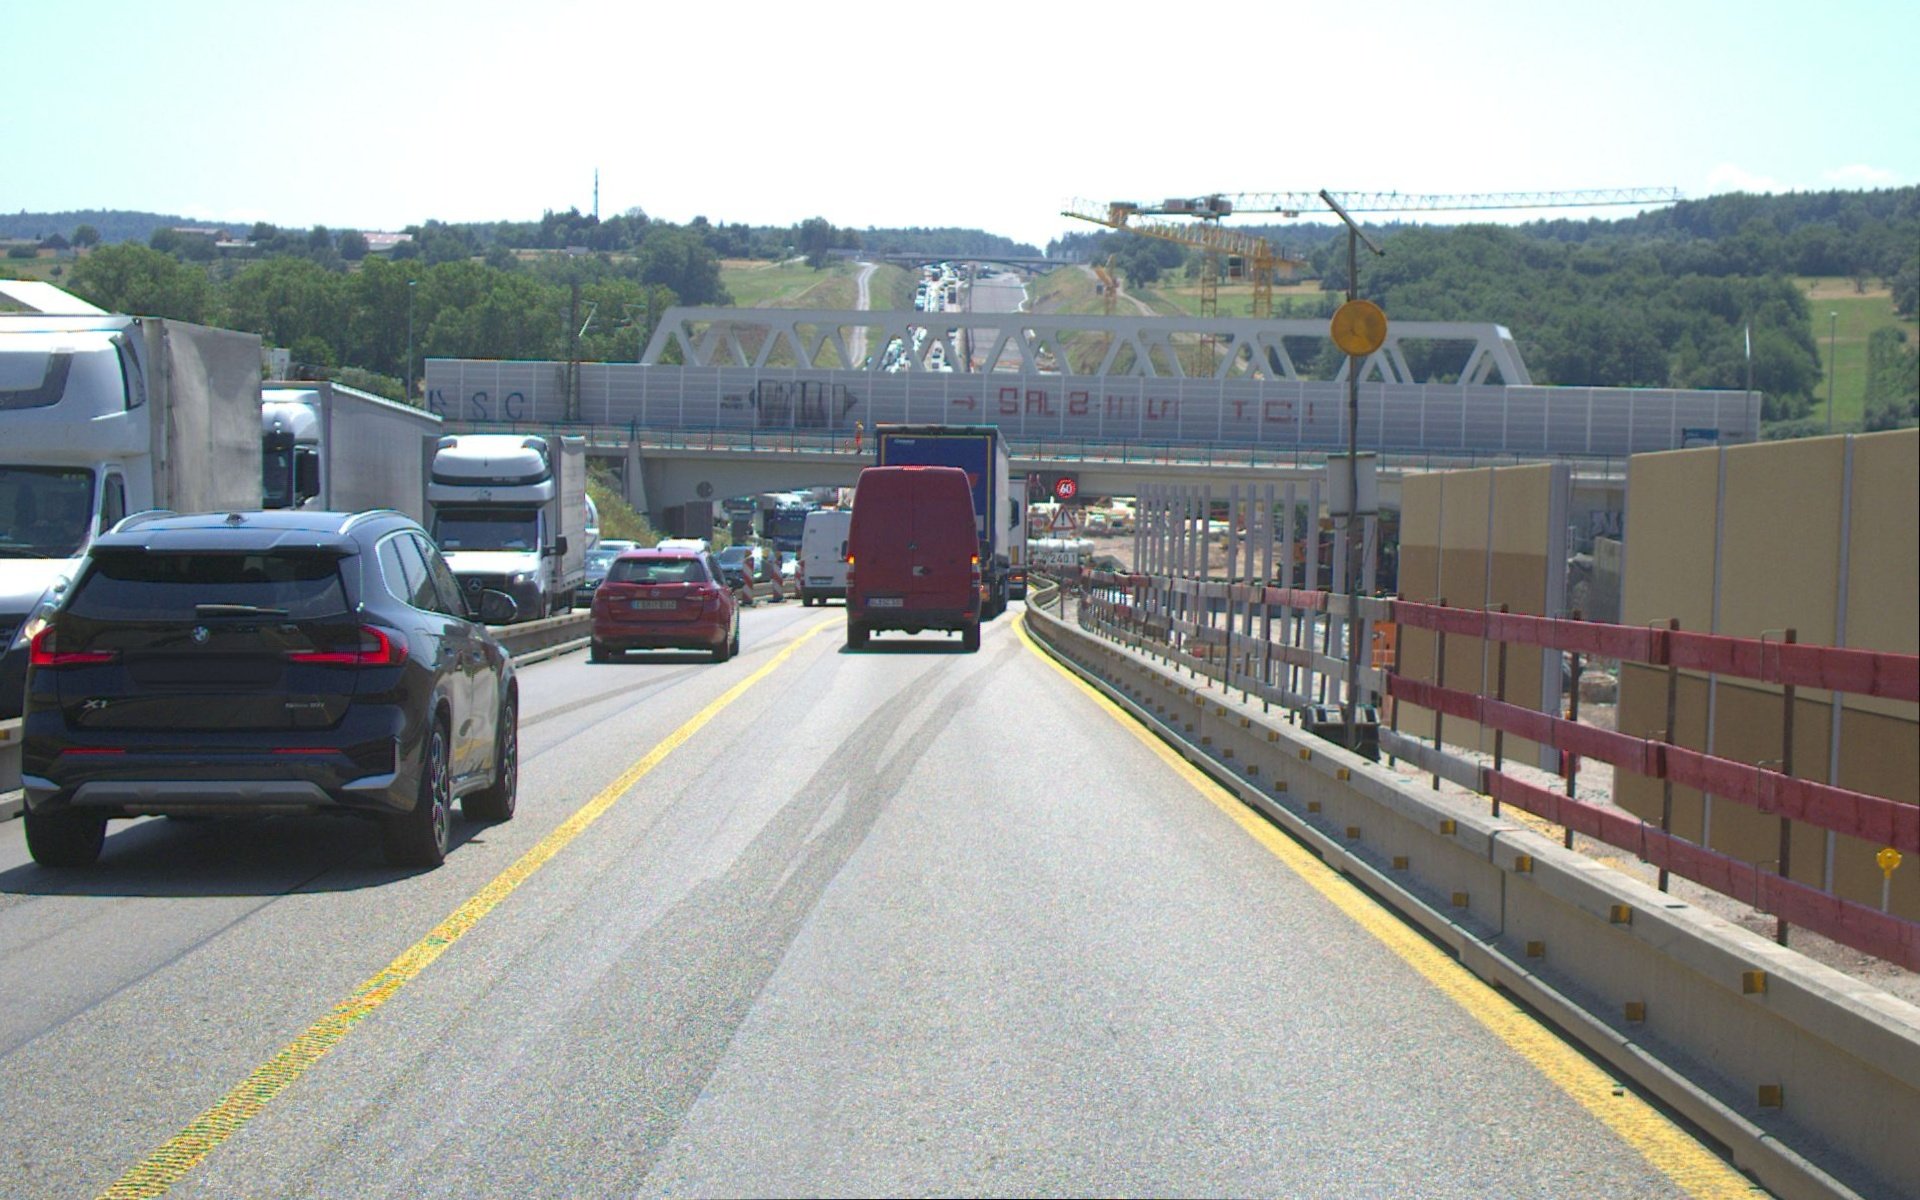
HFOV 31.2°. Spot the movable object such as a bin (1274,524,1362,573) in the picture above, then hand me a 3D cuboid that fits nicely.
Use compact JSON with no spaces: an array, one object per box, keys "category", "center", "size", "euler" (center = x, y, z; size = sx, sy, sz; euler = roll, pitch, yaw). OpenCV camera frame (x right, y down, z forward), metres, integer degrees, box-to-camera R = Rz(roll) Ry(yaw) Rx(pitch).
[{"category":"movable object such as a bin","center":[21.430,-3.073,206.069],"size":[5.147,2.798,2.142],"euler":[1,1,5]}]

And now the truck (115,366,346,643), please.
[{"category":"truck","center":[-11.084,-1.445,52.542],"size":[2.698,4.036,3.955],"euler":[1,1,-1]}]

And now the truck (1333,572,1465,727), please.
[{"category":"truck","center":[11.567,1.245,91.086],"size":[2.758,3.873,5.882],"euler":[1,1,1]}]

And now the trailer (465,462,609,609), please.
[{"category":"trailer","center":[-11.610,-1.797,95.354],"size":[2.590,3.788,11.918],"euler":[1,1,-1]}]

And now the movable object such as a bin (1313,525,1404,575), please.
[{"category":"movable object such as a bin","center":[23.031,-2.893,198.925],"size":[5.147,2.798,2.142],"euler":[1,1,5]}]

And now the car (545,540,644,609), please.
[{"category":"car","center":[-8.136,-0.584,76.829],"size":[1.779,1.453,4.721],"euler":[1,1,-1]}]

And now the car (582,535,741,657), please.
[{"category":"car","center":[-3.883,-0.090,45.281],"size":[1.776,1.512,4.206],"euler":[0,1,-1]}]

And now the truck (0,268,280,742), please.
[{"category":"truck","center":[-7.462,-0.760,27.971],"size":[2.538,3.362,7.038],"euler":[1,1,-1]}]

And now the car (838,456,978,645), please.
[{"category":"car","center":[-0.777,-0.756,51.293],"size":[1.988,2.681,4.624],"euler":[0,1,-1]}]

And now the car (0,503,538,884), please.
[{"category":"car","center":[-3.248,0.349,16.797],"size":[1.879,1.612,4.499],"euler":[0,1,-1]}]

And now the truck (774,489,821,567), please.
[{"category":"truck","center":[-8.515,-3.789,180.652],"size":[2.357,4.001,4.001],"euler":[1,1,-2]}]

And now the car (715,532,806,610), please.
[{"category":"car","center":[-4.340,-0.663,75.325],"size":[1.839,1.648,4.165],"euler":[0,1,-1]}]

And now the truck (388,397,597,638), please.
[{"category":"truck","center":[-7.762,-1.375,57.880],"size":[2.589,3.745,7.359],"euler":[1,1,-1]}]

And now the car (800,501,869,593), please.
[{"category":"car","center":[-3.355,-1.443,92.580],"size":[1.776,2.433,4.206],"euler":[0,1,-1]}]

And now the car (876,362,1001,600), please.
[{"category":"car","center":[-0.521,-2.623,77.873],"size":[2.621,5.015,10.397],"euler":[0,1,-1]}]

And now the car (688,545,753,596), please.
[{"category":"car","center":[-7.876,-0.990,113.455],"size":[1.791,1.606,4.733],"euler":[1,1,0]}]

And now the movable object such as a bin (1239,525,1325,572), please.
[{"category":"movable object such as a bin","center":[19.718,-3.151,210.668],"size":[5.147,2.798,2.142],"euler":[1,1,5]}]

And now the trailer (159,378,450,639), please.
[{"category":"trailer","center":[-11.229,-1.563,60.389],"size":[2.698,4.010,13.704],"euler":[1,1,-1]}]
